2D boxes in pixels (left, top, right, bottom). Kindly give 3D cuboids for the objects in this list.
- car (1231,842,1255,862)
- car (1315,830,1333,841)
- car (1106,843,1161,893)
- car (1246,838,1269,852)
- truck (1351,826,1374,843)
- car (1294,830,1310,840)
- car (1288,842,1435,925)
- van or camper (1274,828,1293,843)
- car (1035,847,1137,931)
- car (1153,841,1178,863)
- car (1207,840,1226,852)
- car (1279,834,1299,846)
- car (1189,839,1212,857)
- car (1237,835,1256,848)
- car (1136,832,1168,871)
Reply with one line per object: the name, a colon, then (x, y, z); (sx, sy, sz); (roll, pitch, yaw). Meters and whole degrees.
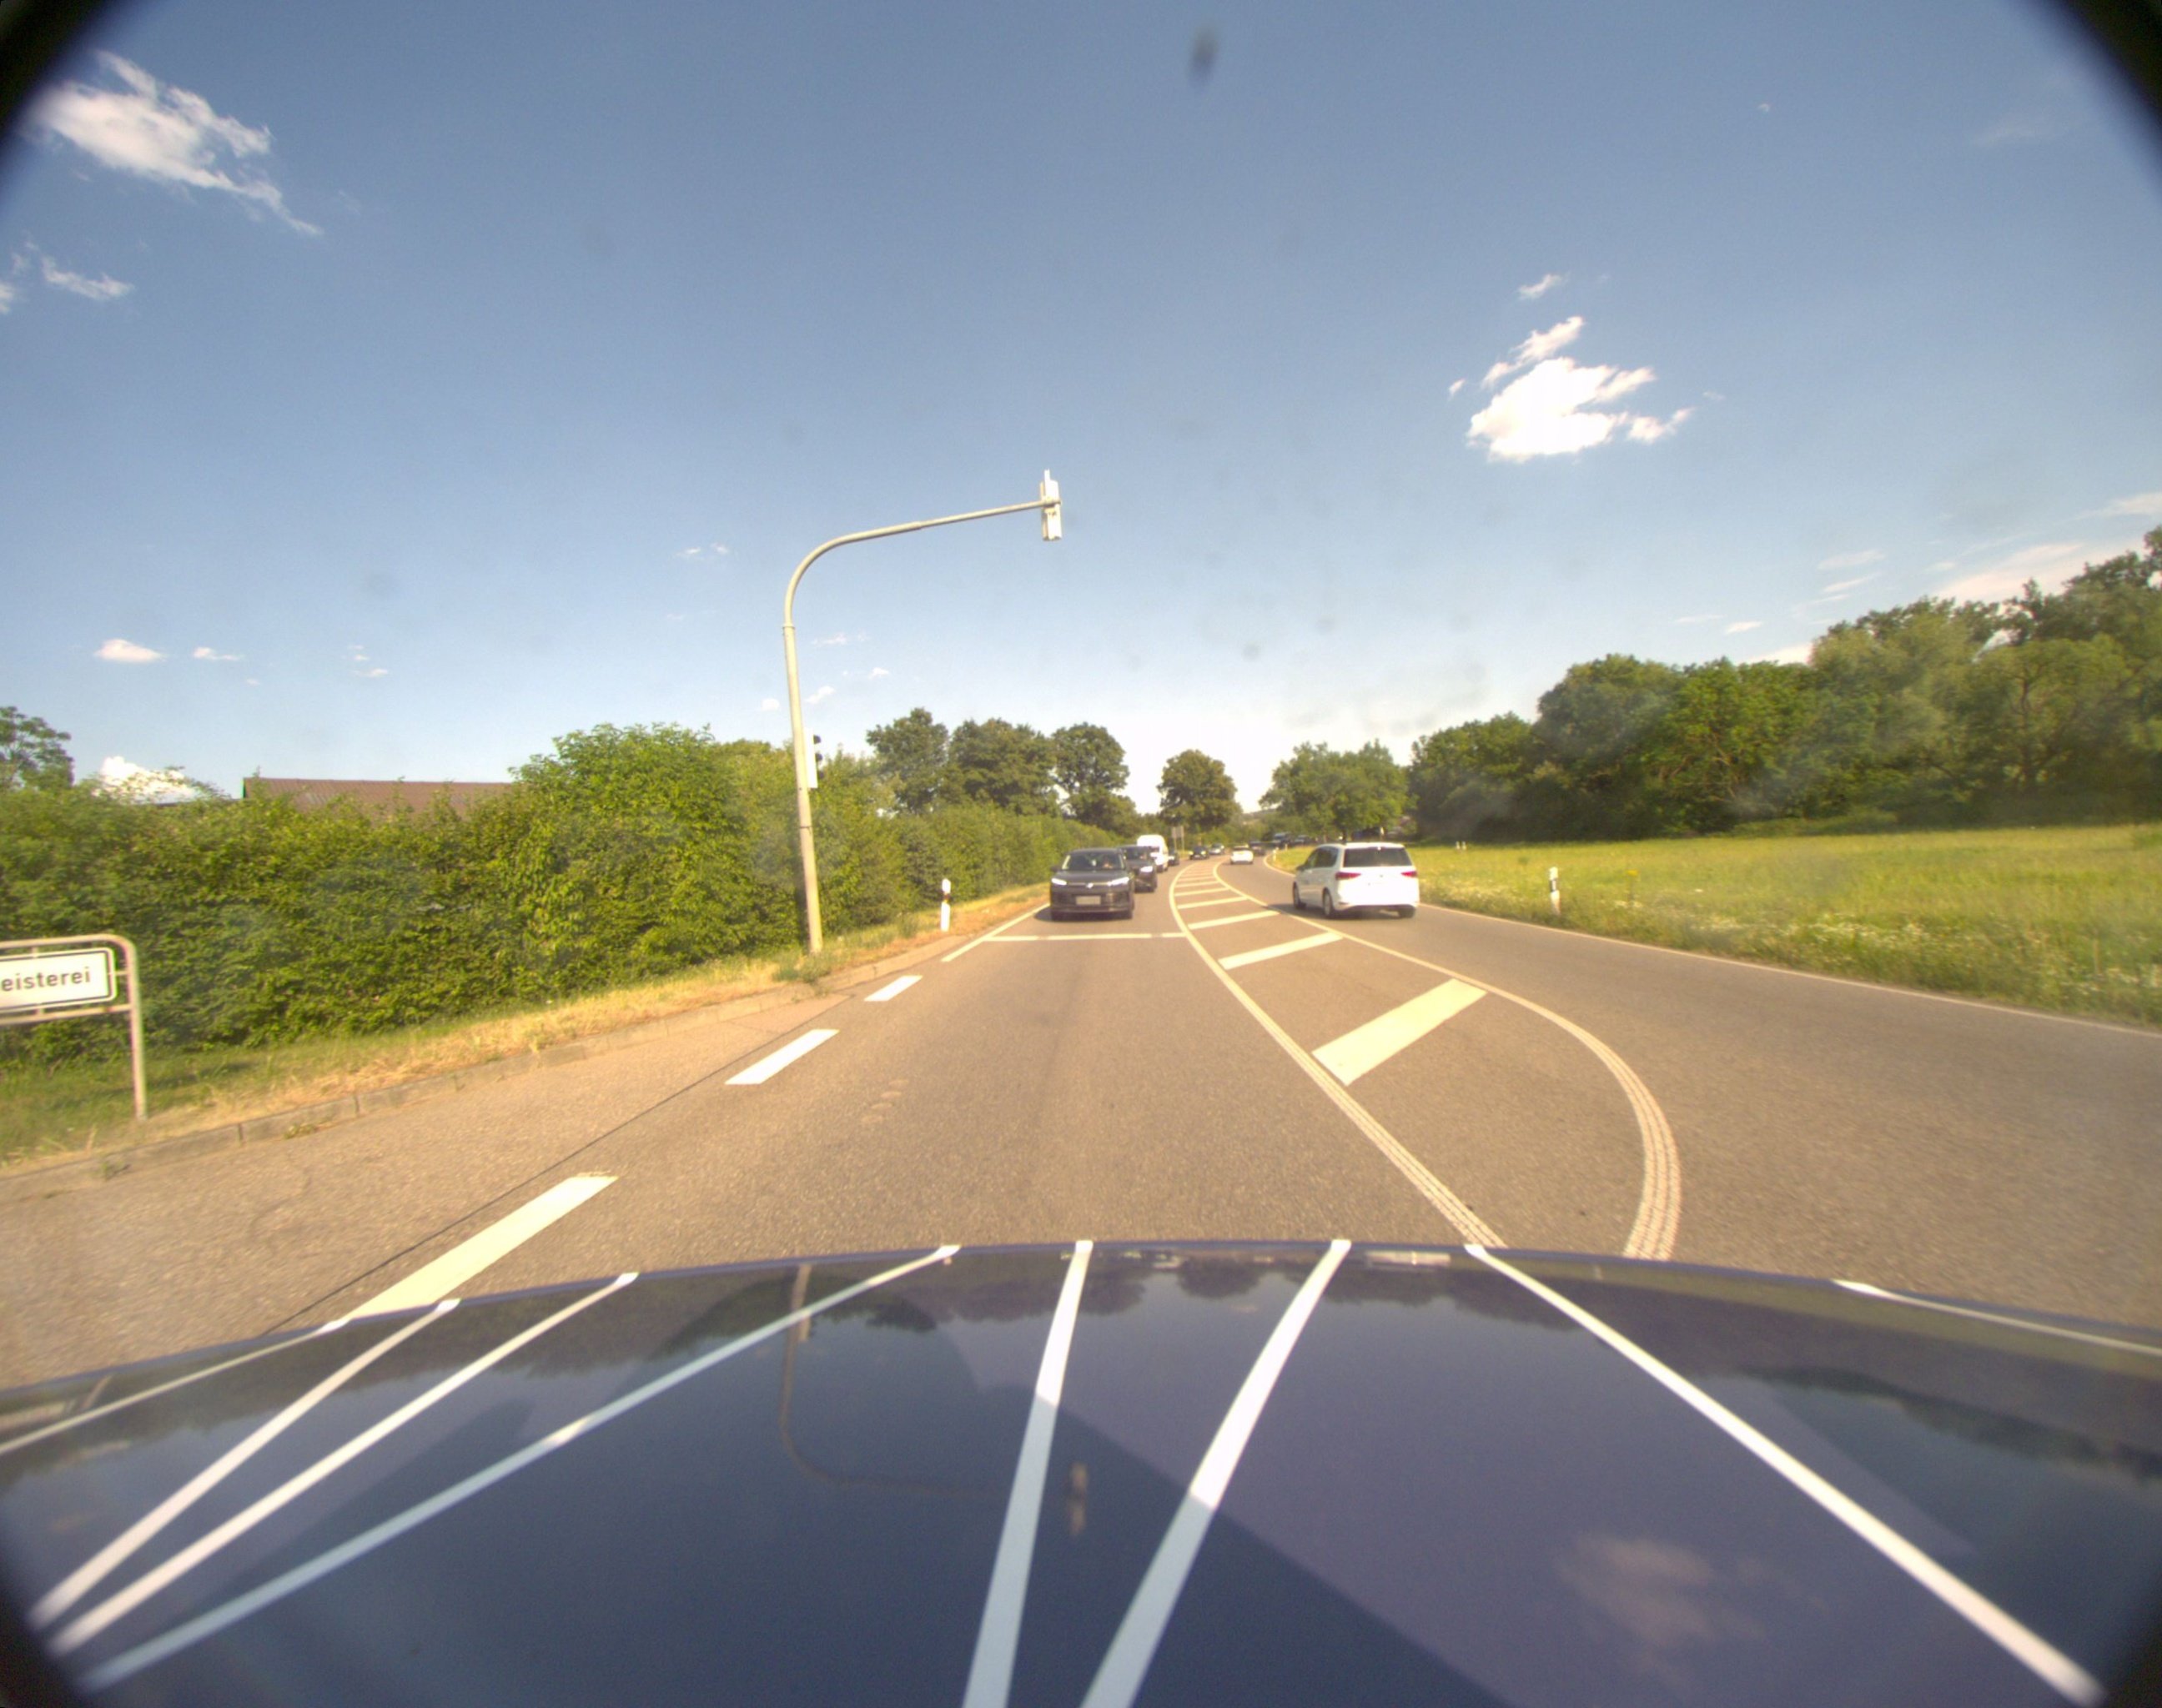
car: (12.745, -0.158, 59.730); (1.748, 1.458, 3.482); (-1, 1, 14)
car: (45.732, -3.513, 143.050); (1.995, 1.846, 4.006); (-5, 1, 35)
car: (2.020, 0.485, 28.220); (1.658, 1.720, 3.807); (-1, 0, 9)
car: (20.538, -1.086, 88.258); (1.929, 1.577, 4.079); (-1, 1, 24)
truck: (60.815, -4.270, 164.156); (2.918, 3.194, 6.693); (-4, 0, 35)
car: (42.226, -3.628, 145.118); (1.995, 1.543, 4.006); (-5, 0, 30)
car: (6.074, 0.590, 17.036); (1.885, 1.577, 4.331); (-1, 0, 3)
van or camper: (36.182, -3.265, 135.733); (2.030, 2.461, 5.085); (-4, 0, 27)
car: (0.246, 0.698, 17.342); (1.865, 1.633, 4.002); (-1, 1, 7)
car: (6.827, -0.171, 61.248); (1.692, 1.718, 3.670); (-1, 1, 10)
car: (17.273, -1.030, 96.452); (1.632, 1.550, 3.422); (0, 2, 23)
car: (33.079, -2.221, 120.854); (1.995, 1.543, 4.006); (-5, 0, 29)
car: (12.361, -0.632, 78.487); (1.671, 1.718, 3.673); (-1, 1, 20)
car: (27.485, -2.065, 126.345); (1.637, 1.888, 3.512); (-4, 1, 37)
car: (4.530, -0.199, 48.065); (1.843, 2.338, 4.791); (-1, 1, 7)
